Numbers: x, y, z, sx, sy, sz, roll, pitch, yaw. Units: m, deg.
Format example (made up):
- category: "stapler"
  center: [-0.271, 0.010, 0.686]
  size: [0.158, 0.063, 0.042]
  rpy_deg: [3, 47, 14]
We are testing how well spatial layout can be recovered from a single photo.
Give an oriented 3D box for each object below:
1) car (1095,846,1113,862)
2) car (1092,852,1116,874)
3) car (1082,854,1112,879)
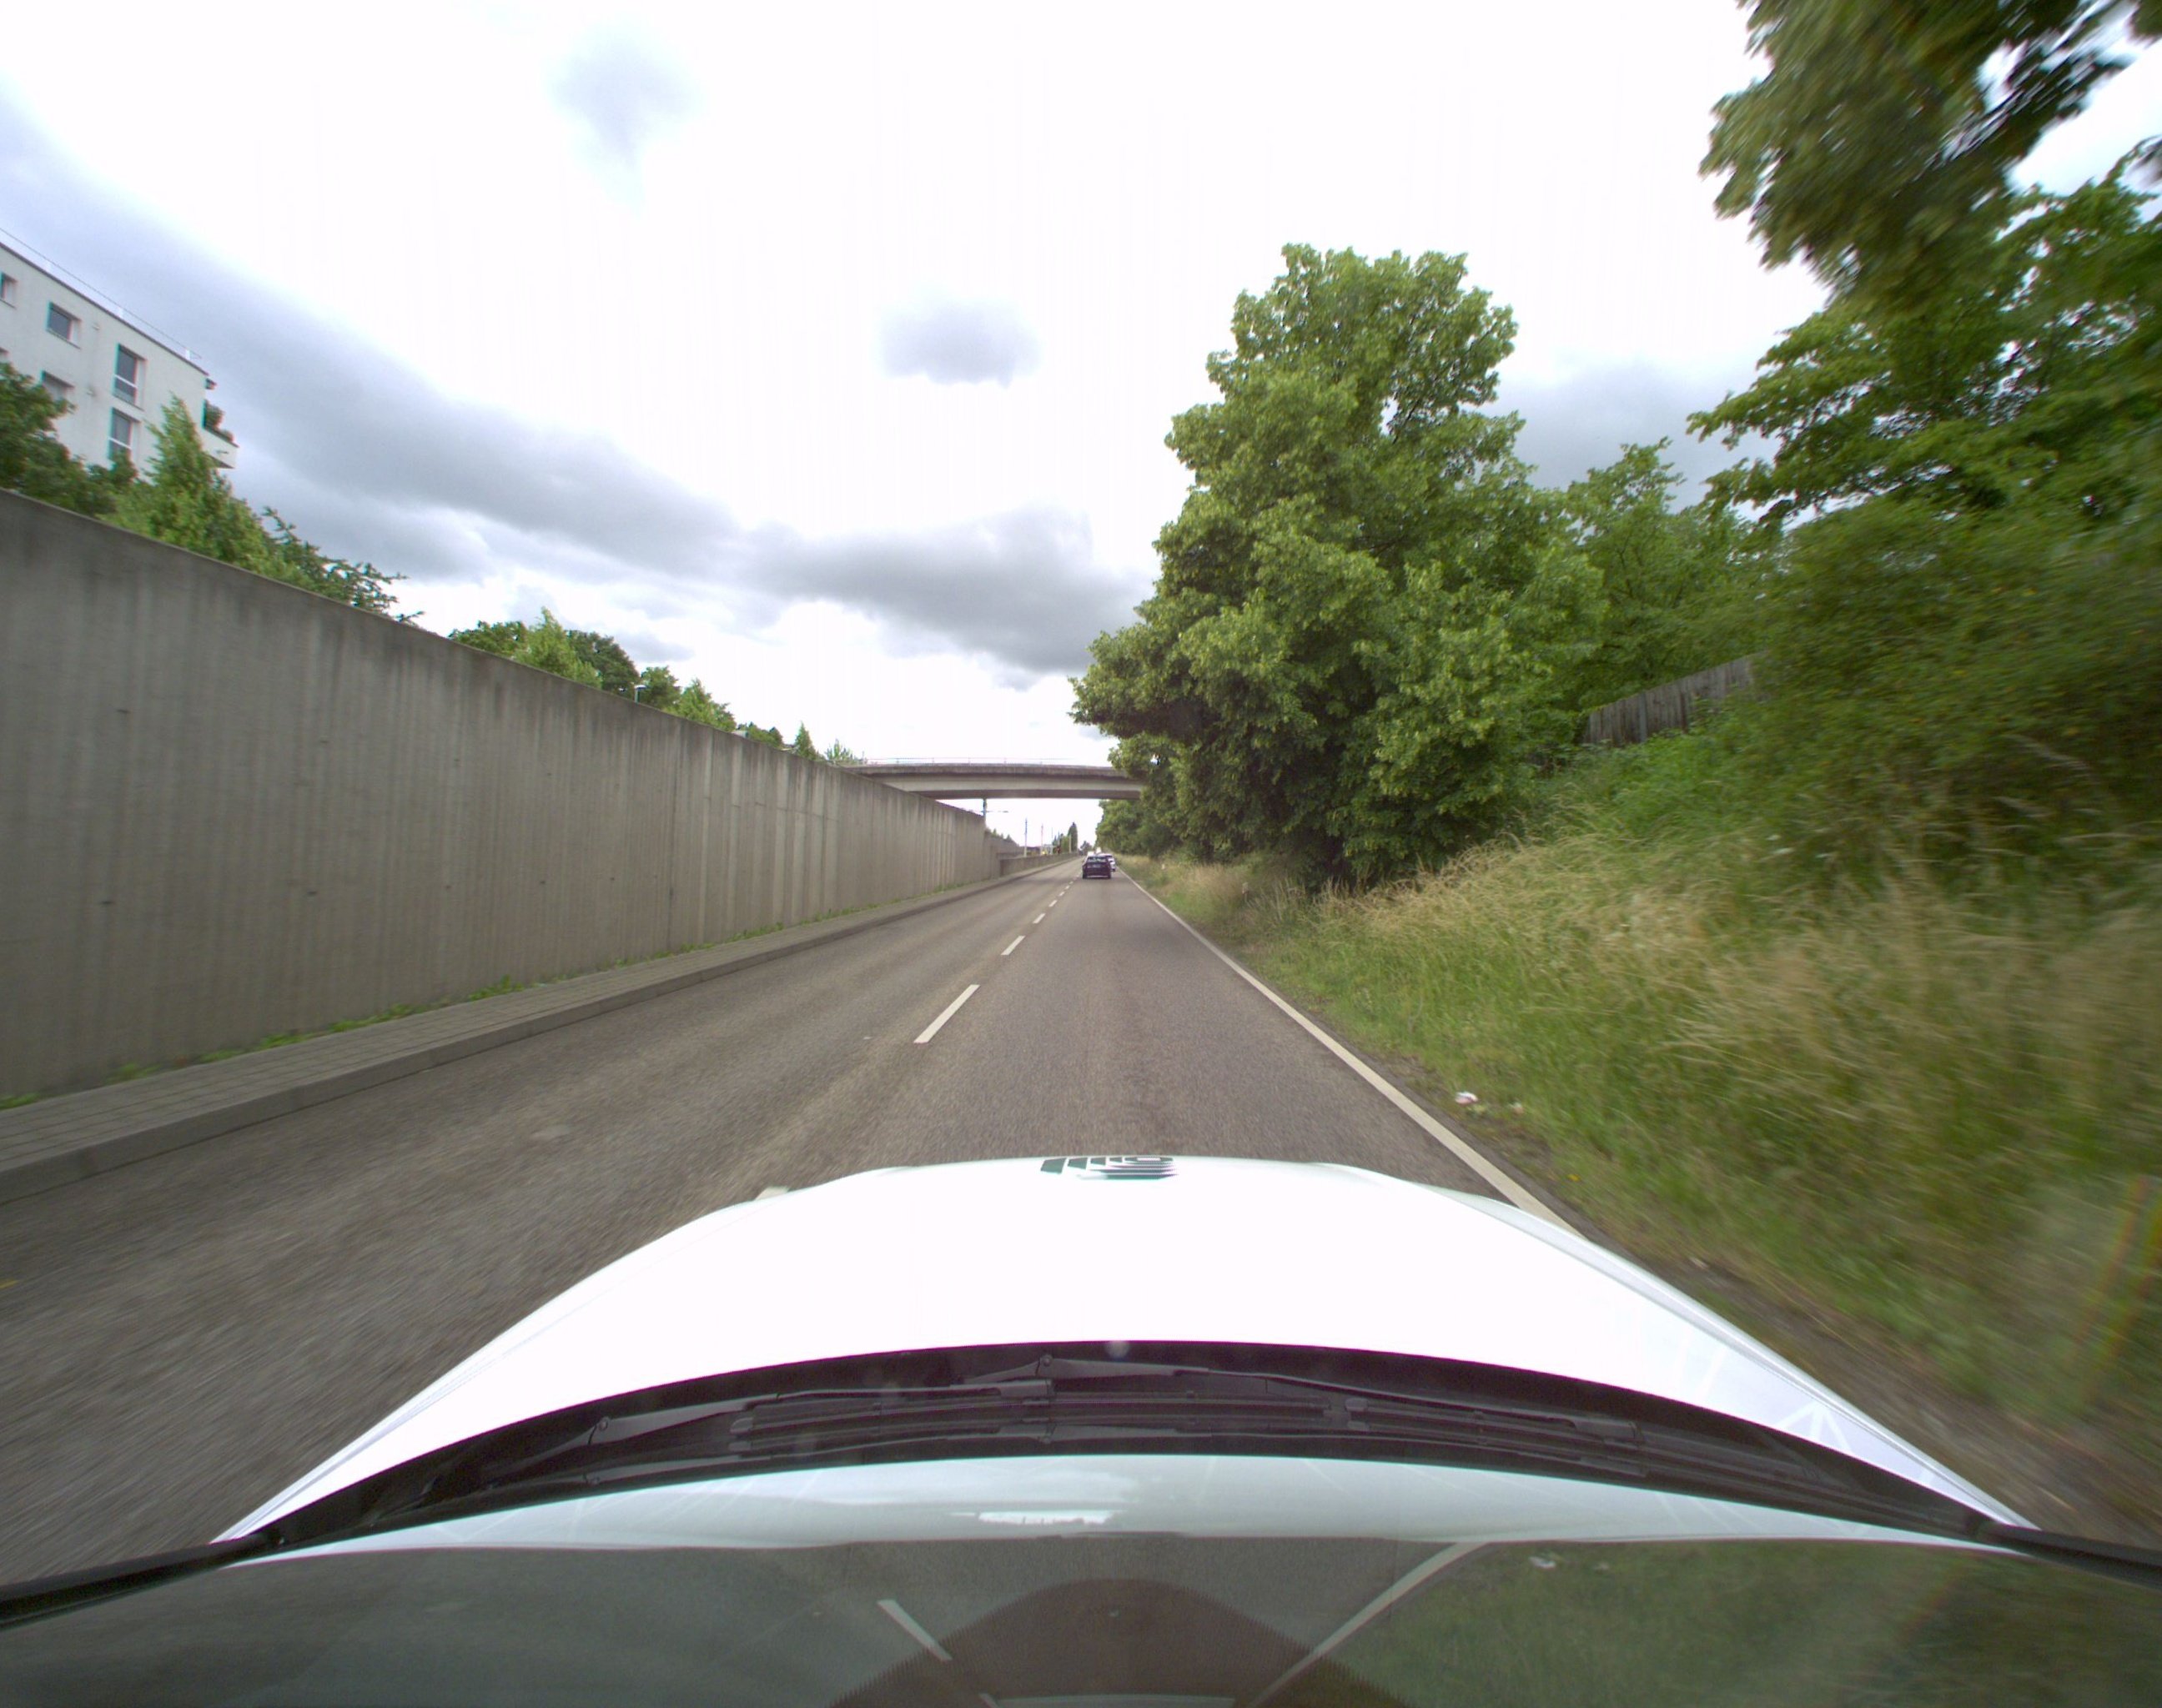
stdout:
- category: "car"
  center: [2.592, 0.038, 92.507]
  size: [1.986, 1.740, 4.001]
  rpy_deg: [0, -1, 1]
- category: "car"
  center: [1.927, 0.732, 68.108]
  size: [1.986, 1.753, 4.001]
  rpy_deg: [0, 0, 1]
- category: "car"
  center: [1.003, 0.743, 50.666]
  size: [1.775, 1.468, 4.001]
  rpy_deg: [0, 0, 1]
